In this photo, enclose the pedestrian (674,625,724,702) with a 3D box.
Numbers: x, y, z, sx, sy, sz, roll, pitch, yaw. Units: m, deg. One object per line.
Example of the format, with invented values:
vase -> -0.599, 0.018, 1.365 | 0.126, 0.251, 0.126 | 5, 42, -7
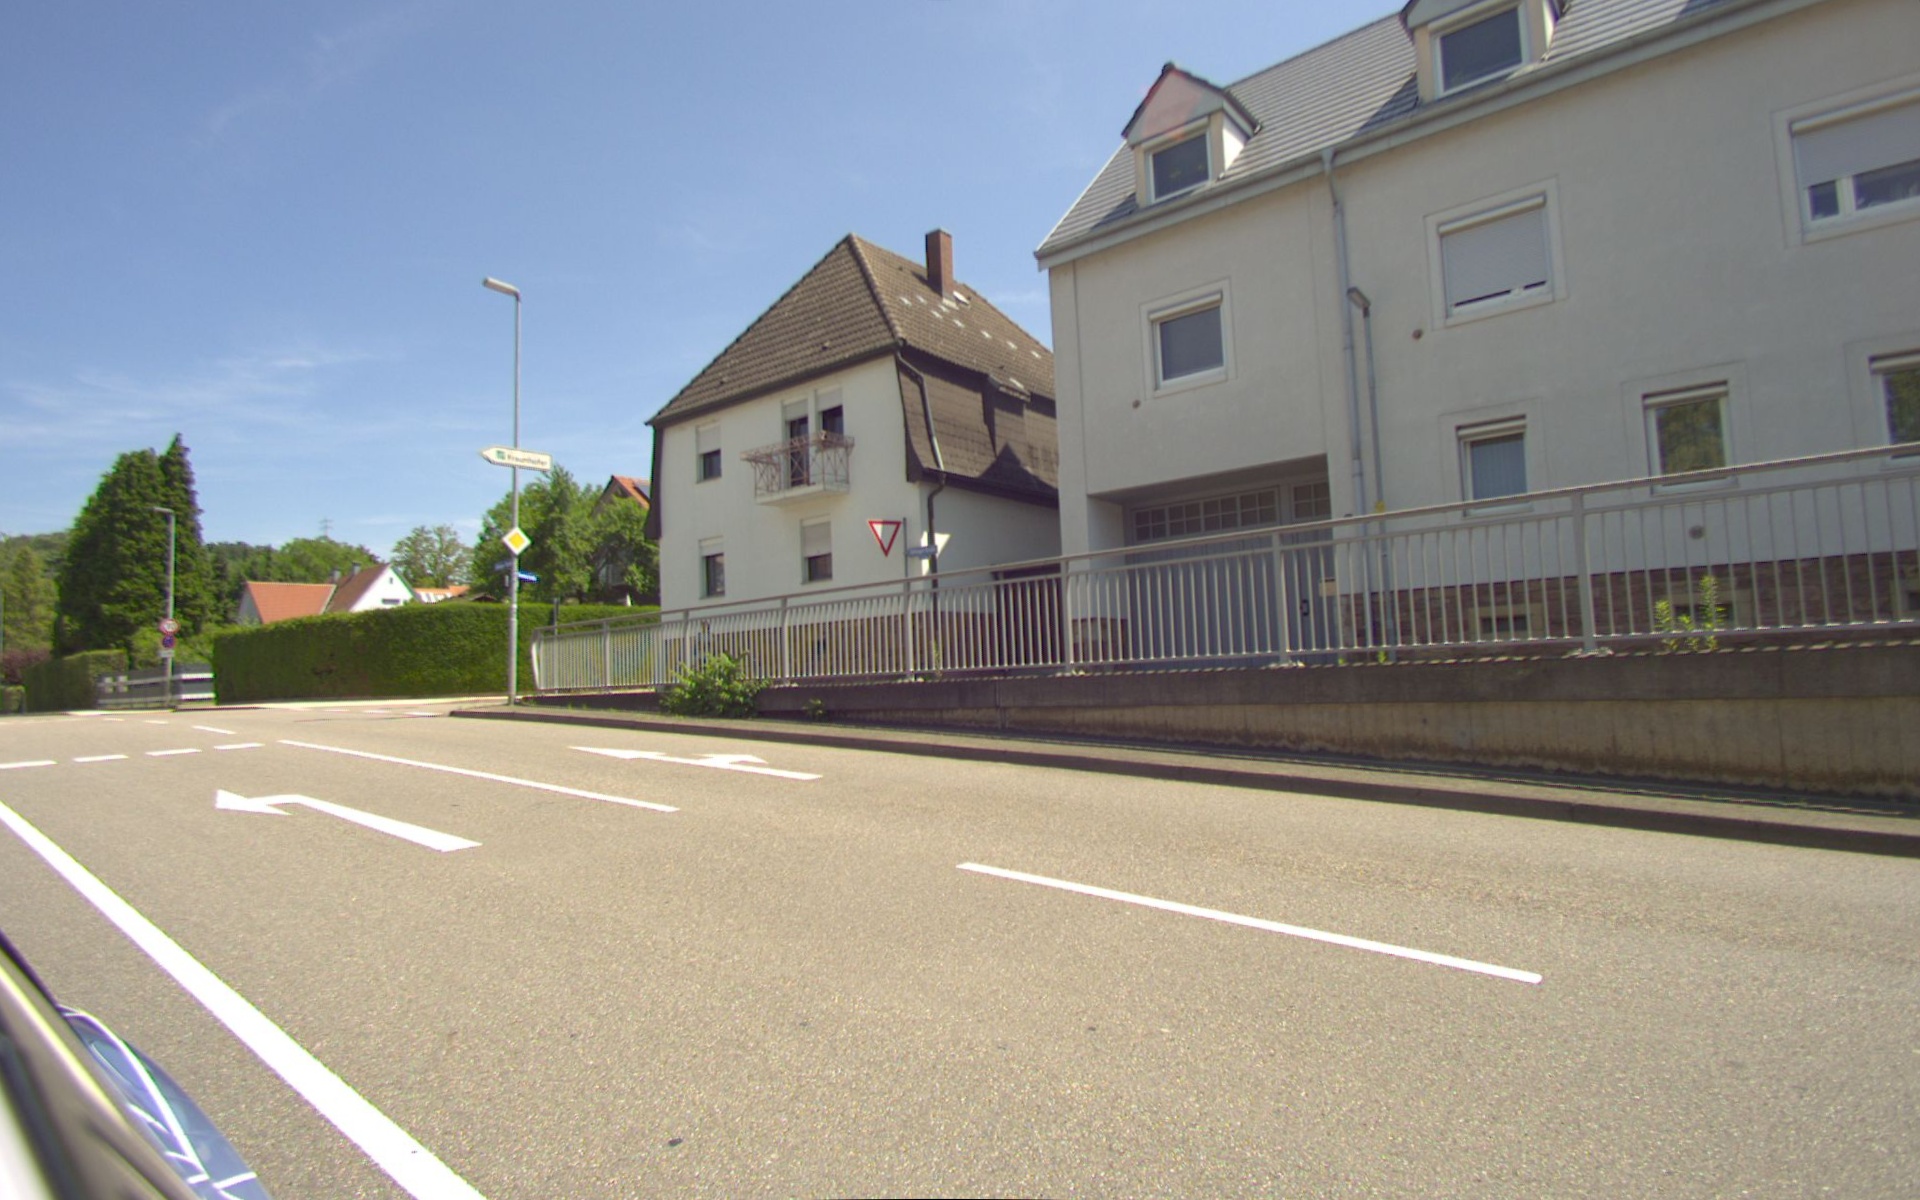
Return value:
pedestrian -> -6.095, 1.480, 23.633 | 0.855, 1.742, 0.720 | -3, -2, 38
